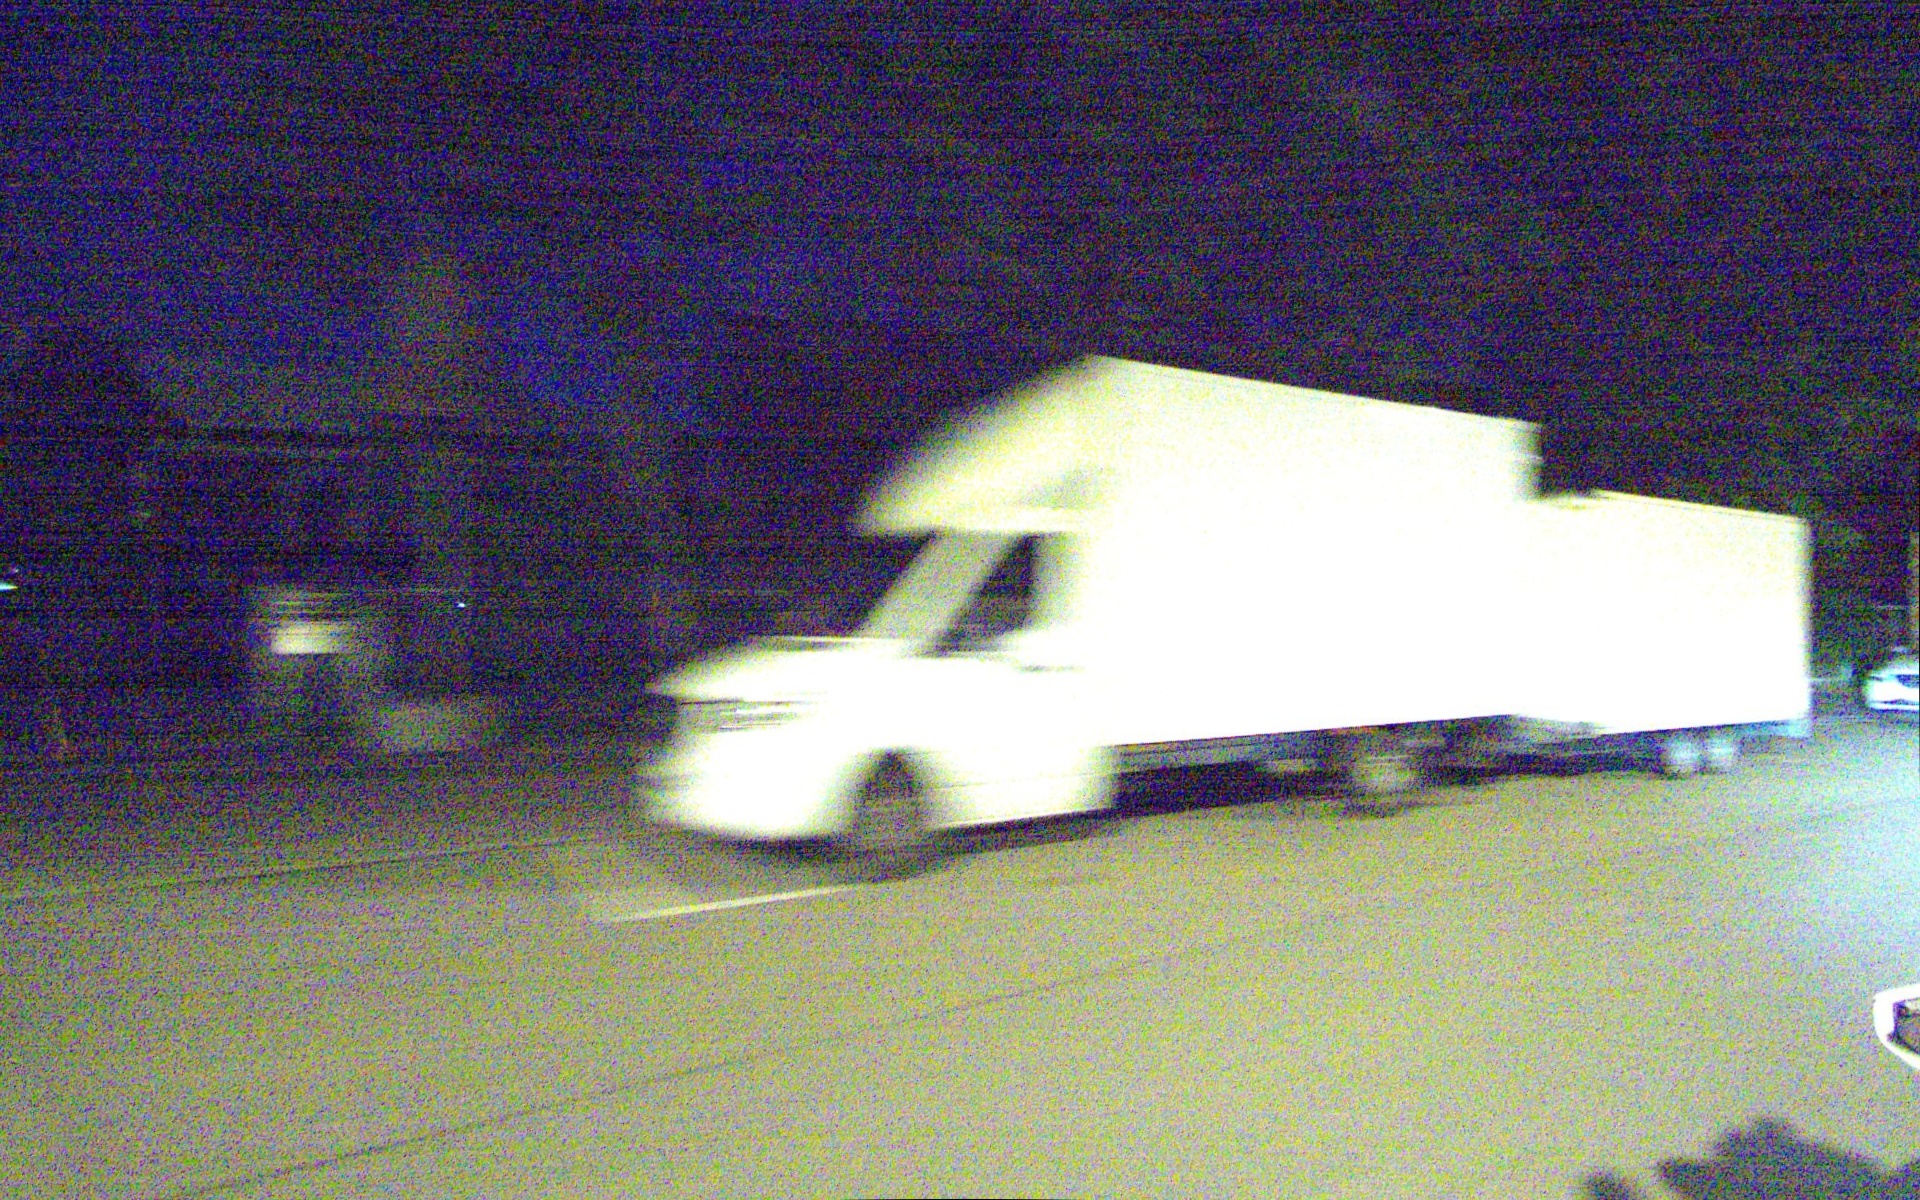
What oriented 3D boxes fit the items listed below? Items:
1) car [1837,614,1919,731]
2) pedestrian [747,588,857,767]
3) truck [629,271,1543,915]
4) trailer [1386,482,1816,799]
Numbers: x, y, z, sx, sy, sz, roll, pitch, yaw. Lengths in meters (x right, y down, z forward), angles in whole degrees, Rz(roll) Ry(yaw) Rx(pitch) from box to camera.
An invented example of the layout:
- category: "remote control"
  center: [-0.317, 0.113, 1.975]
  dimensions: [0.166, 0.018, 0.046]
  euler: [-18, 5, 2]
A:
- category: "car"
  center: [16.735, 1.165, 16.585]
  dimensions: [4.636, 1.795, 1.985]
  euler: [1, -1, -30]
- category: "pedestrian"
  center: [-1.547, 0.752, 9.969]
  dimensions: [0.987, 1.693, 0.779]
  euler: [0, -1, -3]
- category: "truck"
  center: [1.324, 0.042, 7.916]
  dimensions: [7.144, 3.286, 2.363]
  euler: [1, -1, -29]
- category: "trailer"
  center: [7.135, 0.418, 11.105]
  dimensions: [4.562, 2.832, 2.194]
  euler: [1, -1, -30]
